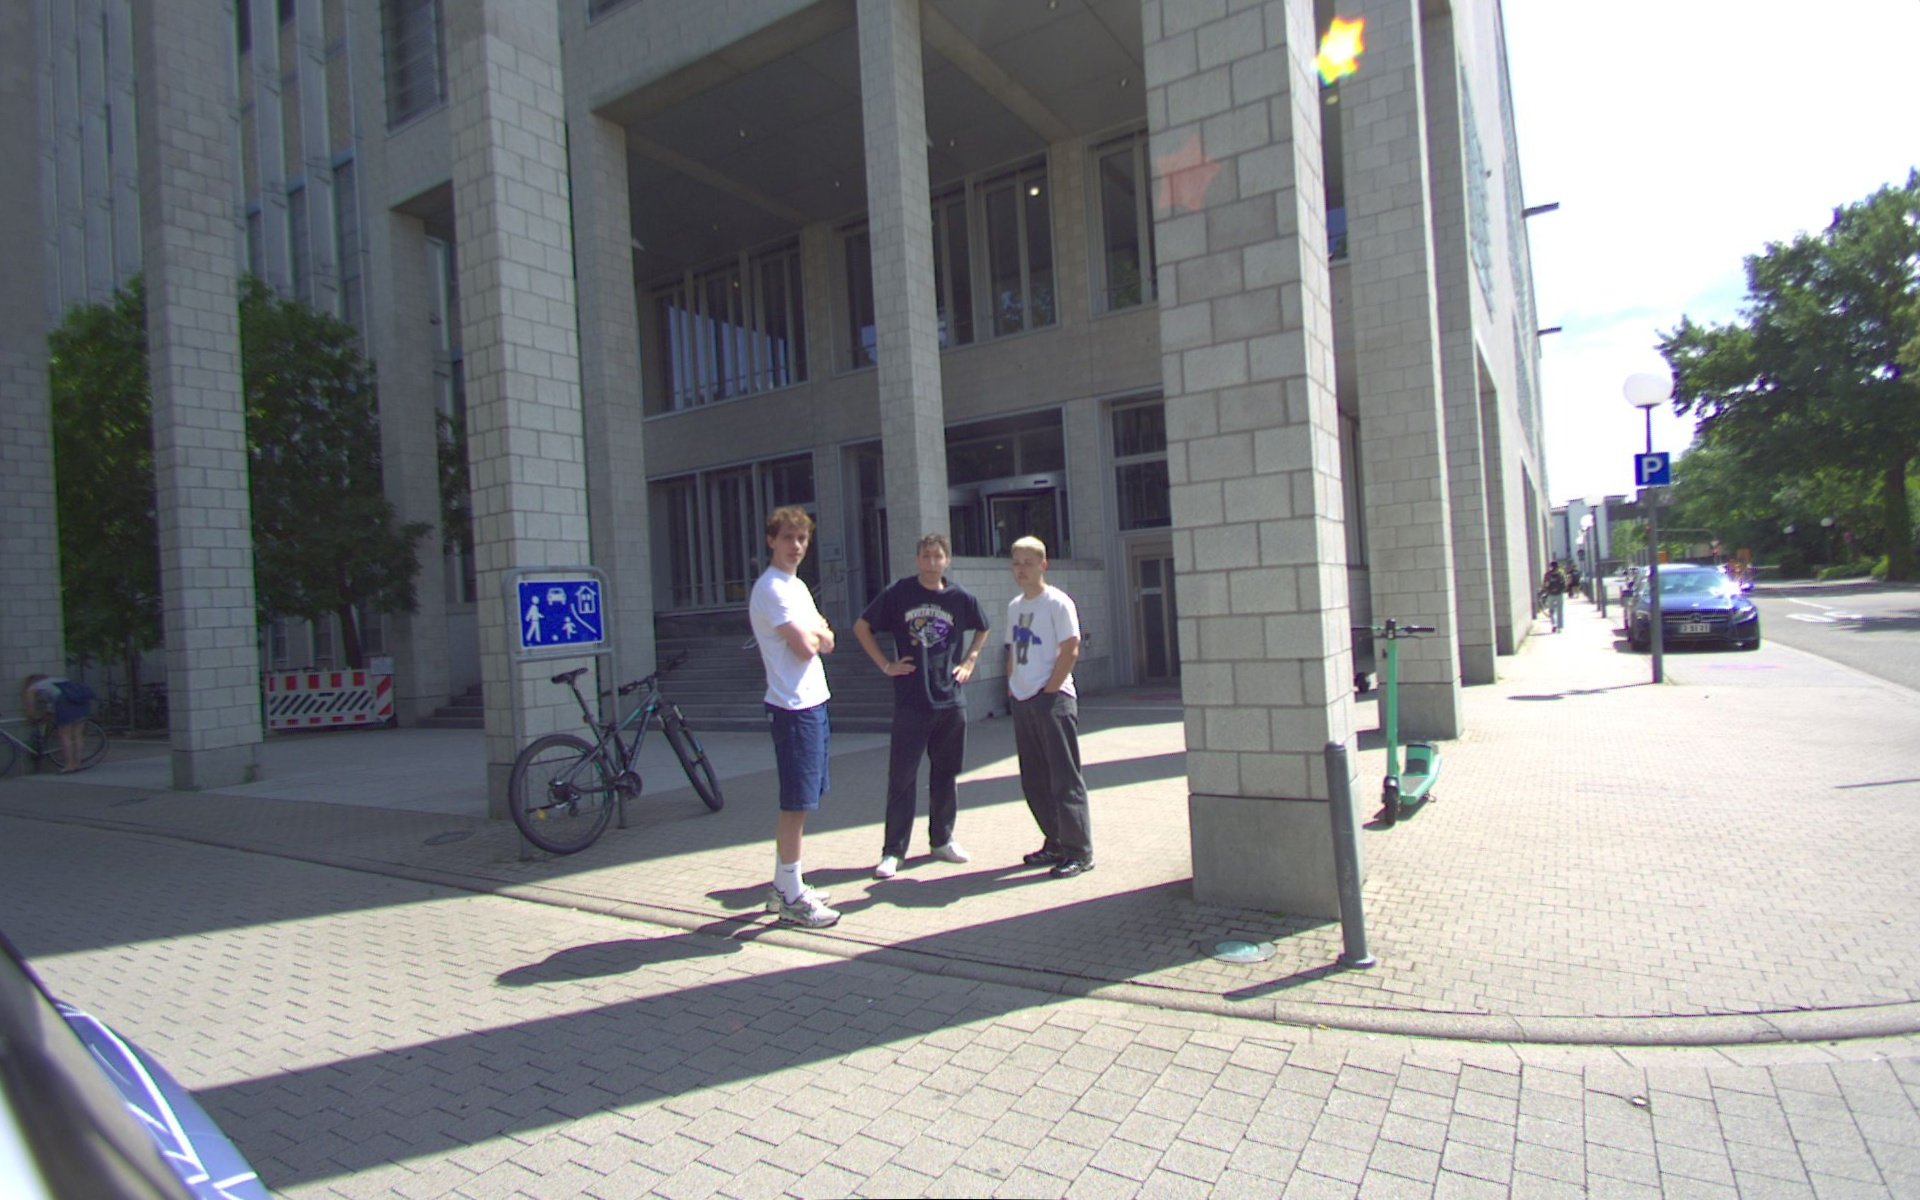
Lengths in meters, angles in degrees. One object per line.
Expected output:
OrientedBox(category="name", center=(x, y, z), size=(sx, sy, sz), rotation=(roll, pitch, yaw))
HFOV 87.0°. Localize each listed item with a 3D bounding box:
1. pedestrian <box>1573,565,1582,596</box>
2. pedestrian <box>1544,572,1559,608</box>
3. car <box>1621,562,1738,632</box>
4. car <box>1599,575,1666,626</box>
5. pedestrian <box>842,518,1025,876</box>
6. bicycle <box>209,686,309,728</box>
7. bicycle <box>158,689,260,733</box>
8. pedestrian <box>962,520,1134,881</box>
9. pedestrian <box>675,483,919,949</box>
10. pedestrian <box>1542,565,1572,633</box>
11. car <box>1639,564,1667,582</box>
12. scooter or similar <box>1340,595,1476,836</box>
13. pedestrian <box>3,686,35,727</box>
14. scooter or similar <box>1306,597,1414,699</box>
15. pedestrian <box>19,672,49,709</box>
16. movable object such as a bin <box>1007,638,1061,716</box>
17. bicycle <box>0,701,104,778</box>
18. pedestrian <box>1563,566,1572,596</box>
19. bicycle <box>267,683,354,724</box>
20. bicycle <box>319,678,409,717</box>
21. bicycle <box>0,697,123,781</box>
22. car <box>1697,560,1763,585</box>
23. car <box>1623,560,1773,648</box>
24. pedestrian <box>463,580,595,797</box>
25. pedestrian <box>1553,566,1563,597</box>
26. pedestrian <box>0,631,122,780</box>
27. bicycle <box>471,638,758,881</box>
OrientedBox(category="pedestrian", center=(33.098, -1.021, 54.253), size=(0.382, 1.642, 0.514), rotation=(-1, 0, 32))
OrientedBox(category="pedestrian", center=(23.585, -0.394, 40.360), size=(0.464, 1.419, 0.459), rotation=(-1, 0, 37))
OrientedBox(category="car", center=(16.151, -0.047, 22.894), size=(1.838, 1.409, 3.836), rotation=(-2, -1, 31))
OrientedBox(category="car", center=(23.645, 0.012, 35.704), size=(1.794, 1.714, 3.957), rotation=(-1, 0, 31))
OrientedBox(category="pedestrian", center=(-0.169, 0.497, 5.590), size=(0.796, 1.810, 0.621), rotation=(-3, -1, -12))
OrientedBox(category="bicycle", center=(-13.791, 2.104, 19.905), size=(1.976, 0.765, 0.639), rotation=(-3, -2, 22))
OrientedBox(category="bicycle", center=(-14.298, 2.112, 19.266), size=(1.976, 0.765, 0.639), rotation=(-3, -2, 22))
OrientedBox(category="pedestrian", center=(0.464, 0.494, 5.280), size=(0.612, 1.742, 0.536), rotation=(-4, -1, 33))
OrientedBox(category="pedestrian", center=(-0.725, 0.484, 4.593), size=(0.684, 1.905, 0.680), rotation=(-5, 0, 29))
OrientedBox(category="pedestrian", center=(14.343, -0.026, 24.330), size=(0.549, 1.593, 0.600), rotation=(-2, -1, 28))
OrientedBox(category="car", center=(65.704, -2.542, 95.971), size=(1.798, 1.460, 3.638), rotation=(-7, -3, 31))
OrientedBox(category="scooter or similar", center=(2.711, 0.602, 6.049), size=(0.563, 1.221, 1.495), rotation=(-1, 1, 30))
OrientedBox(category="pedestrian", center=(-44.023, 4.969, 47.370), size=(0.958, 1.777, 0.746), rotation=(-1, 0, -32))
OrientedBox(category="scooter or similar", center=(5.251, 0.592, 13.376), size=(0.556, 1.220, 1.513), rotation=(-4, 1, -9))
OrientedBox(category="pedestrian", center=(-46.648, 4.556, 50.995), size=(0.958, 1.777, 0.746), rotation=(-1, 0, -32))
OrientedBox(category="movable object such as a bin", center=(0.958, 0.987, 13.079), size=(0.511, 0.956, 0.507), rotation=(-1, 0, 30))
OrientedBox(category="bicycle", center=(-12.568, 1.878, 13.488), size=(1.749, 0.906, 0.449), rotation=(-2, -3, -40))
OrientedBox(category="pedestrian", center=(32.729, -1.016, 54.481), size=(0.382, 1.642, 0.514), rotation=(-1, 0, 32))
OrientedBox(category="bicycle", center=(-13.190, 2.096, 20.539), size=(1.981, 0.765, 0.637), rotation=(-3, -2, 30))
OrientedBox(category="bicycle", center=(-12.732, 2.090, 21.620), size=(1.978, 0.765, 0.638), rotation=(-3, -2, 24))
OrientedBox(category="bicycle", center=(-11.908, 1.800, 12.976), size=(0.336, 0.906, 1.755), rotation=(-5, -1, 37))
OrientedBox(category="car", center=(58.463, -2.084, 76.890), size=(3.662, 1.460, 1.786), rotation=(-7, -3, 30))
OrientedBox(category="car", center=(13.304, 0.082, 18.458), size=(1.838, 1.409, 3.836), rotation=(-2, -1, 31))
OrientedBox(category="pedestrian", center=(-3.647, 0.727, 8.588), size=(0.687, 1.747, 0.679), rotation=(-4, -1, 28))
OrientedBox(category="pedestrian", center=(32.340, -1.011, 54.751), size=(0.440, 1.642, 0.563), rotation=(-1, 0, 32))
OrientedBox(category="pedestrian", center=(-11.402, 1.317, 12.819), size=(0.928, 1.753, 0.746), rotation=(-4, -1, 13))
OrientedBox(category="bicycle", center=(-2.177, 0.948, 6.645), size=(0.530, 1.251, 1.811), rotation=(-4, 0, 30))
